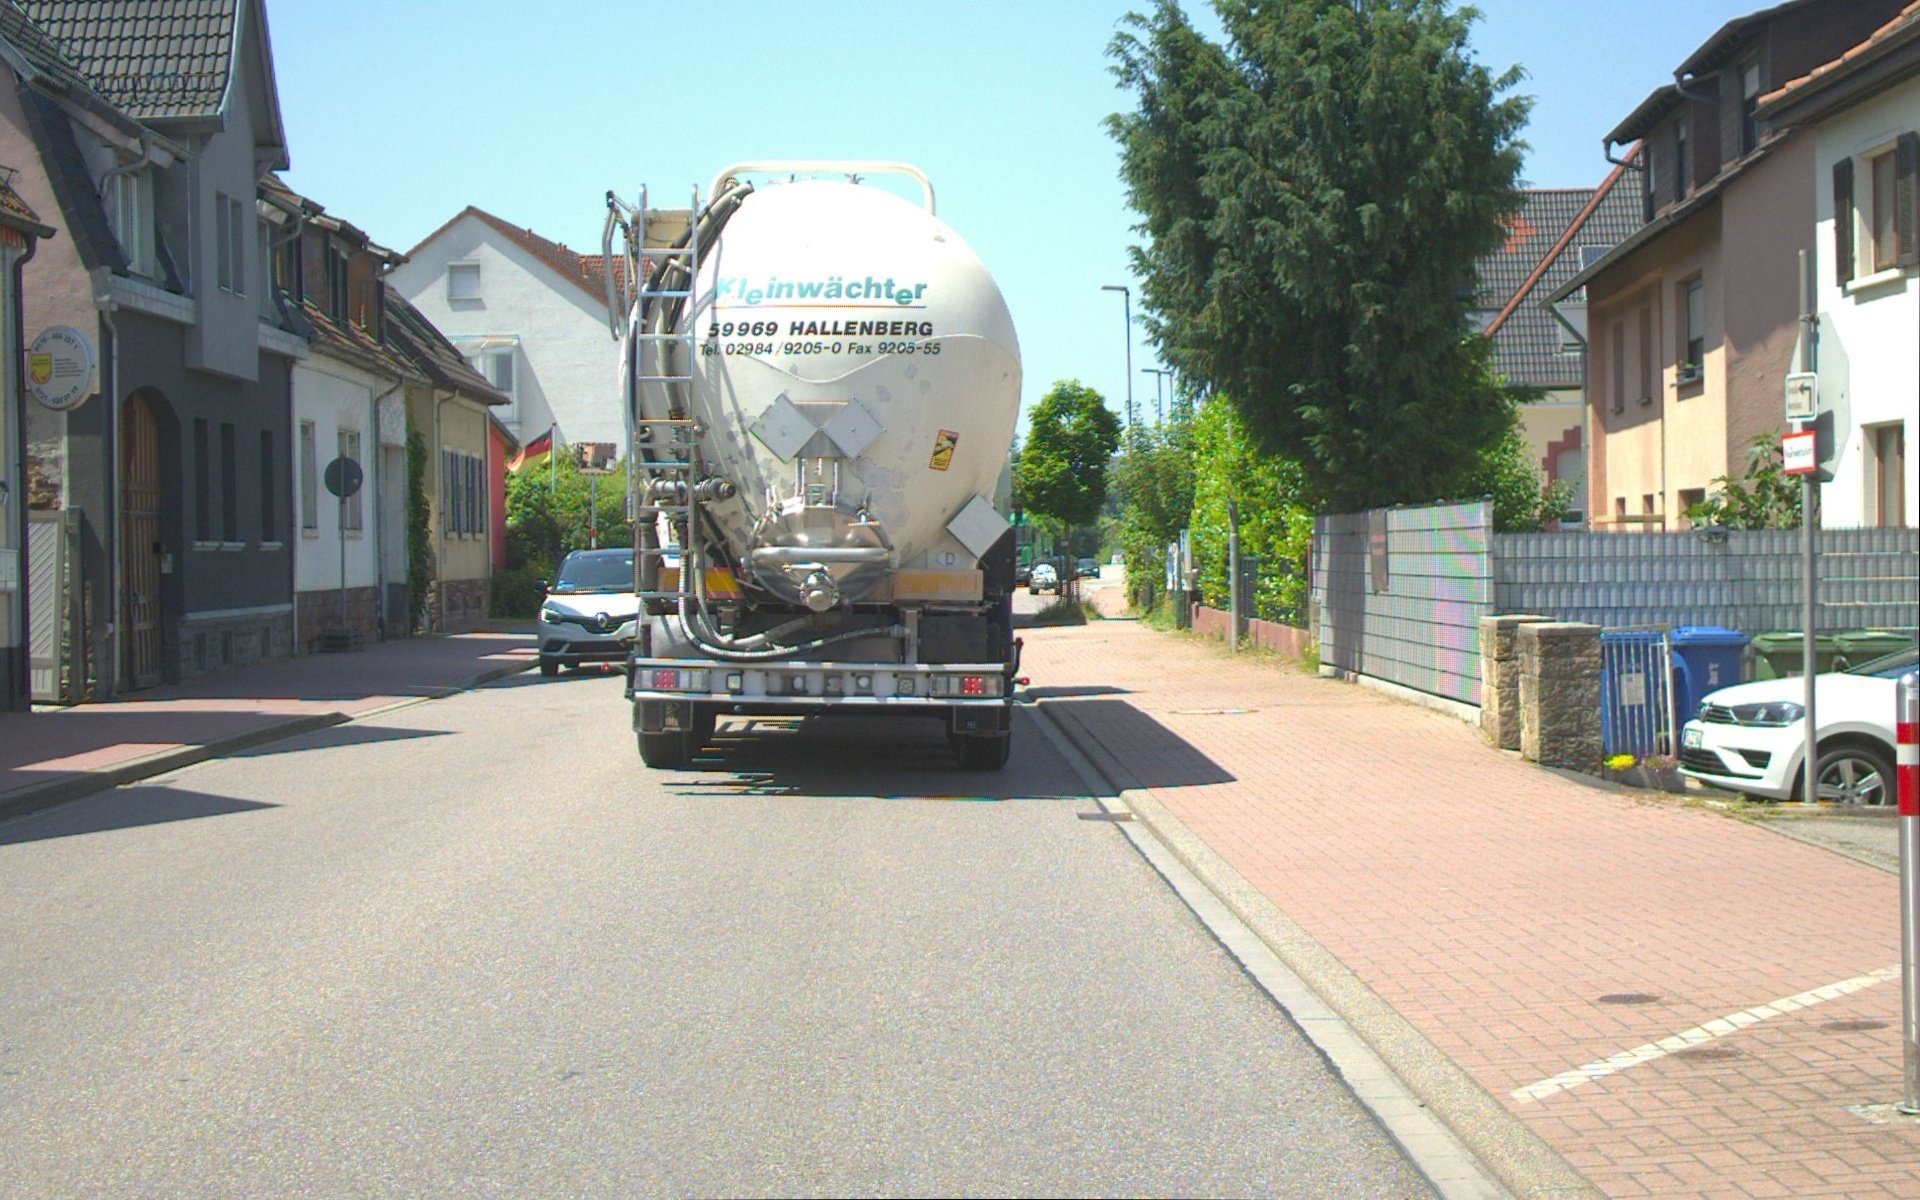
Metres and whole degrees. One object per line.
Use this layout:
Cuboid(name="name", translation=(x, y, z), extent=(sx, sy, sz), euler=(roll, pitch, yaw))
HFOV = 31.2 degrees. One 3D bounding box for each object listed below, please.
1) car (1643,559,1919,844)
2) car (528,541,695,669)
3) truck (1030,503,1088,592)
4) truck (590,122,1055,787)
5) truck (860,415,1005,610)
Cuboid(name="car", translation=(6.829, 0.851, 22.412), extent=(4.170, 1.581, 1.907), euler=(9, 1, 0))
Cuboid(name="car", translation=(-4.667, 0.041, 46.518), extent=(1.851, 1.566, 4.255), euler=(-3, 1, -1))
Cuboid(name="truck", translation=(3.689, -1.945, 127.406), extent=(1.993, 3.126, 9.448), euler=(1, 1, 2))
Cuboid(name="truck", translation=(-0.940, -0.897, 24.690), extent=(2.732, 3.946, 8.142), euler=(1, 0, -2))
Cuboid(name="truck", translation=(-0.515, -1.816, 74.294), extent=(2.733, 3.946, 8.141), euler=(1, 0, 2))
